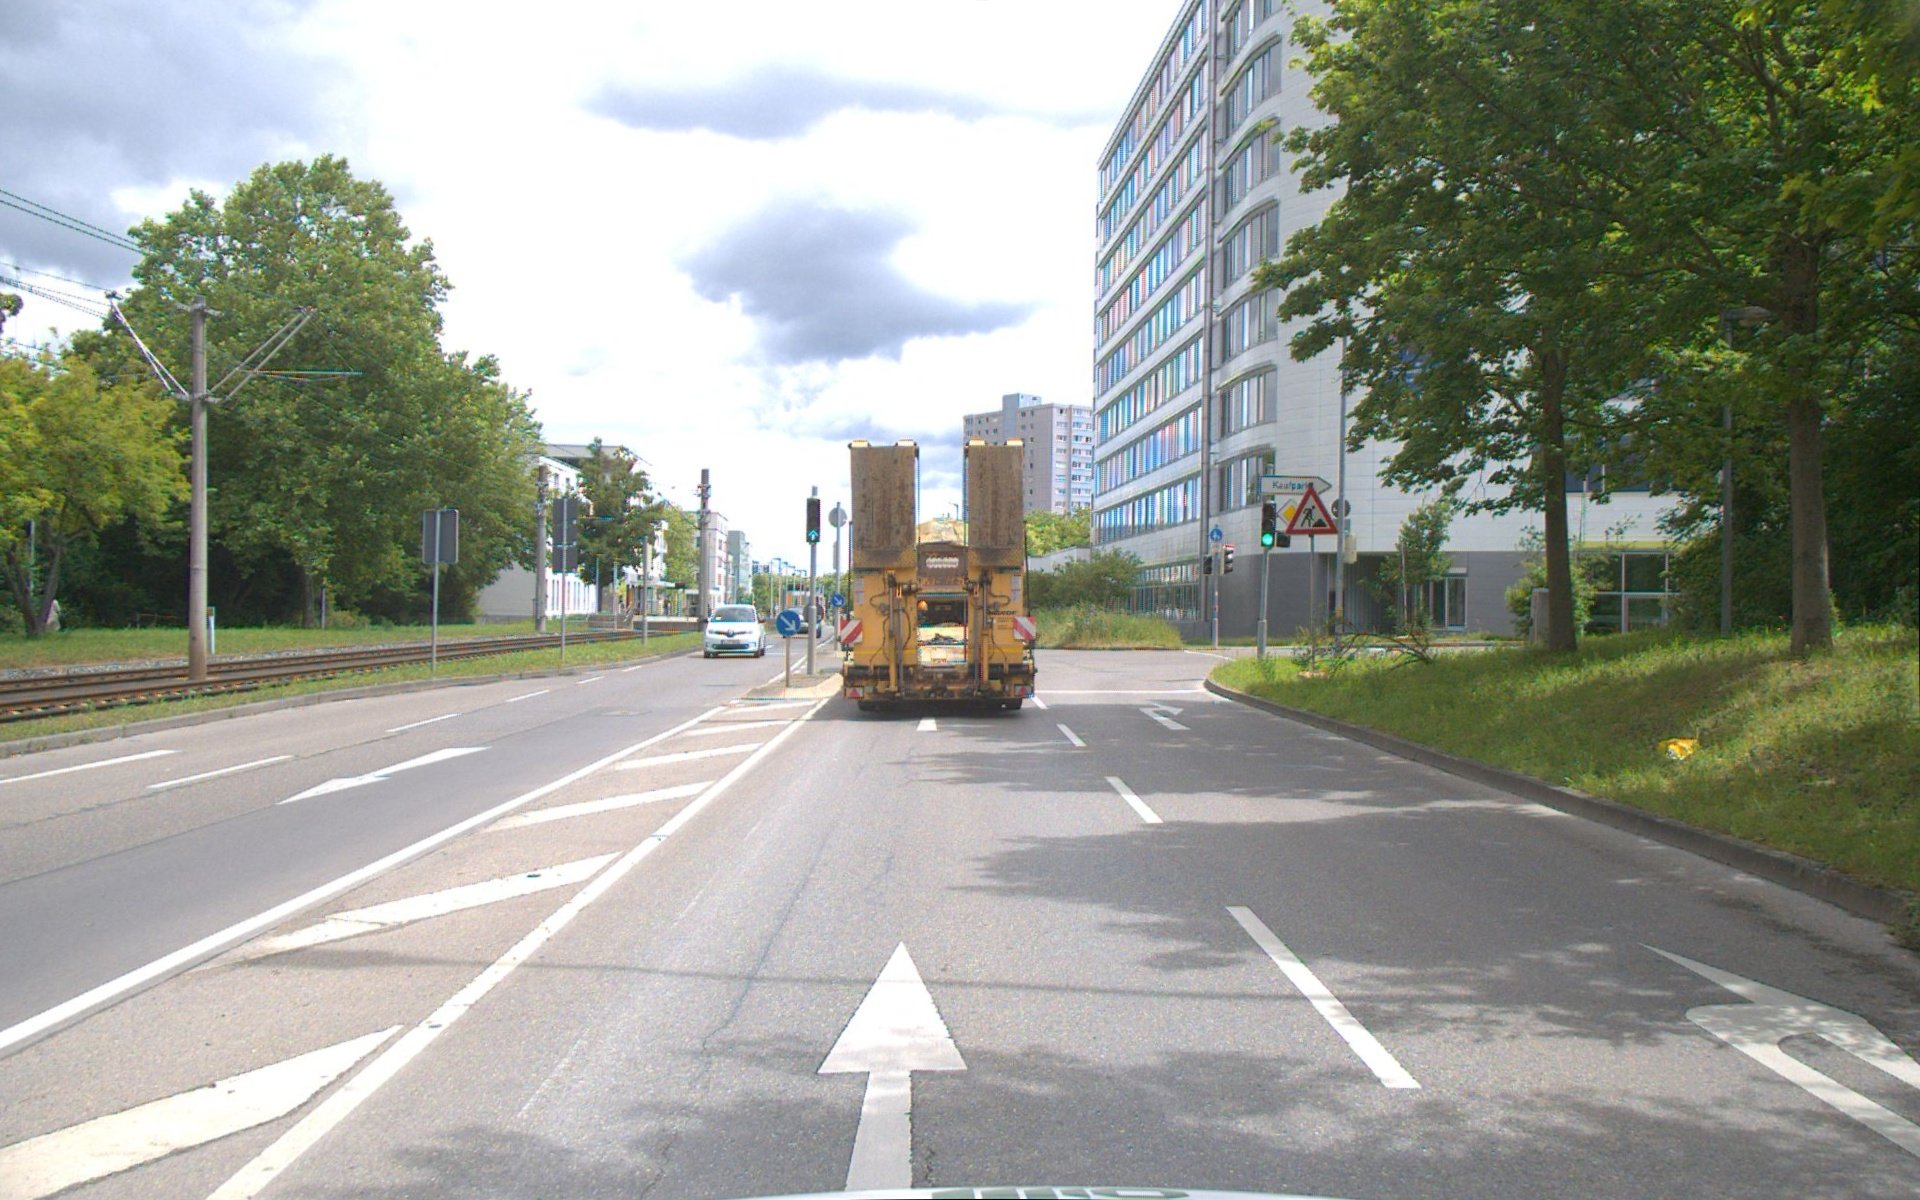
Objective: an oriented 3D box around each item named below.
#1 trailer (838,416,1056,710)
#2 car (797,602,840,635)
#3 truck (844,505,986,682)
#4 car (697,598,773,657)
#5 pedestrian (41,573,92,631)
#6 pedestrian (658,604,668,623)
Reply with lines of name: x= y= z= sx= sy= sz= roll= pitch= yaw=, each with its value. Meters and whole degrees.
trailer: x=-0.477 y=-0.357 z=26.289 sx=2.675 sy=3.621 sz=11.244 roll=1 pitch=-1 yaw=-3
car: x=-7.303 y=0.942 z=85.762 sx=1.822 sy=1.638 sz=4.607 roll=0 pitch=0 yaw=-1
truck: x=-1.050 y=-0.049 z=36.081 sx=2.698 sy=3.371 sz=8.346 roll=1 pitch=-1 yaw=-3
car: x=-6.675 y=0.828 z=49.424 sx=1.693 sy=1.641 sz=4.262 roll=1 pitch=-1 yaw=-1
pedestrian: x=-30.969 y=0.074 z=57.345 sx=1.013 sy=1.967 sz=1.363 roll=1 pitch=-1 yaw=-1
pedestrian: x=-25.082 y=1.140 z=139.696 sx=0.726 sy=1.558 sz=0.547 roll=1 pitch=-1 yaw=0
